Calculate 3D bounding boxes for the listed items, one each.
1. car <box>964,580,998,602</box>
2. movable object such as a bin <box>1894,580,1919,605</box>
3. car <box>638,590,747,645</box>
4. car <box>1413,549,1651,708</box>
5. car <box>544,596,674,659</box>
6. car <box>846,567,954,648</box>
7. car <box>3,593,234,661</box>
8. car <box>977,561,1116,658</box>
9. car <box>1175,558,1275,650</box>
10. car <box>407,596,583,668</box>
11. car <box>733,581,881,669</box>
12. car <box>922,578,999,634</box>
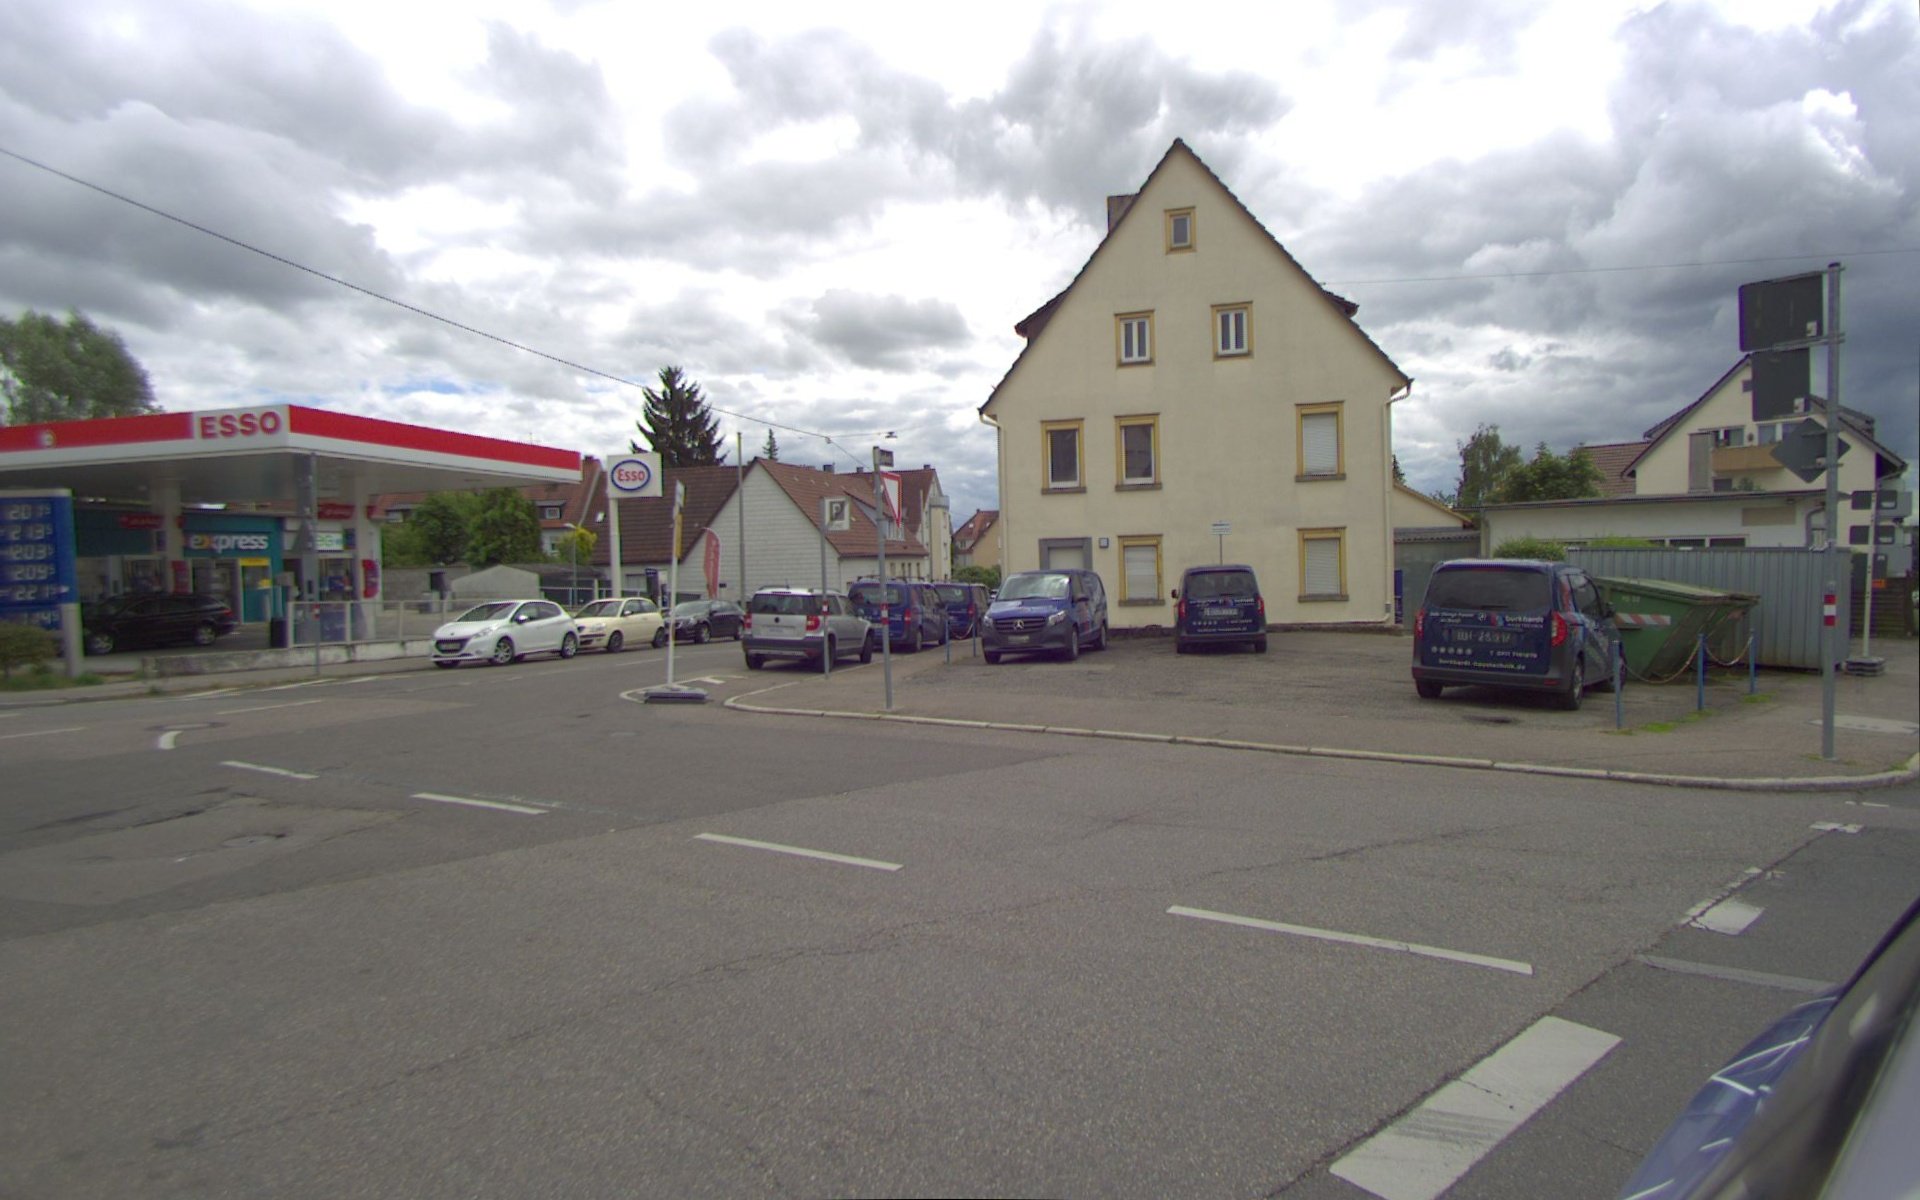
[{"bbox_3d":[1.690,-0.700,81.091,1.849,1.616,3.883,-2,0,14],"label":"car"},{"bbox_3d":[55.667,-0.450,59.511,1.079,1.455,1.241,-2,-1,43],"label":"movable object such as a bin"},{"bbox_3d":[-8.601,0.535,32.850,1.697,1.616,3.983,-2,0,14],"label":"car"},{"bbox_3d":[7.759,0.255,13.517,1.746,1.761,4.501,3,3,43],"label":"car"},{"bbox_3d":[-9.741,0.713,28.388,1.604,1.493,3.752,-1,2,15],"label":"car"},{"bbox_3d":[-1.529,0.179,27.479,1.748,1.968,4.307,1,0,13],"label":"car"},{"bbox_3d":[-22.135,0.648,26.886,1.895,1.479,4.467,-1,2,14],"label":"car"},{"bbox_3d":[2.005,0.188,21.862,1.877,1.825,4.864,-2,0,18],"label":"car"},{"bbox_3d":[5.622,0.079,21.693,1.841,1.750,3.983,-2,0,14],"label":"car"},{"bbox_3d":[-10.724,0.677,23.641,1.749,1.498,3.814,1,0,13],"label":"car"},{"bbox_3d":[-3.102,0.482,21.359,1.748,1.638,3.984,-2,0,13],"label":"car"},{"bbox_3d":[0.084,0.190,34.638,1.697,1.752,3.983,-2,0,14],"label":"car"}]
